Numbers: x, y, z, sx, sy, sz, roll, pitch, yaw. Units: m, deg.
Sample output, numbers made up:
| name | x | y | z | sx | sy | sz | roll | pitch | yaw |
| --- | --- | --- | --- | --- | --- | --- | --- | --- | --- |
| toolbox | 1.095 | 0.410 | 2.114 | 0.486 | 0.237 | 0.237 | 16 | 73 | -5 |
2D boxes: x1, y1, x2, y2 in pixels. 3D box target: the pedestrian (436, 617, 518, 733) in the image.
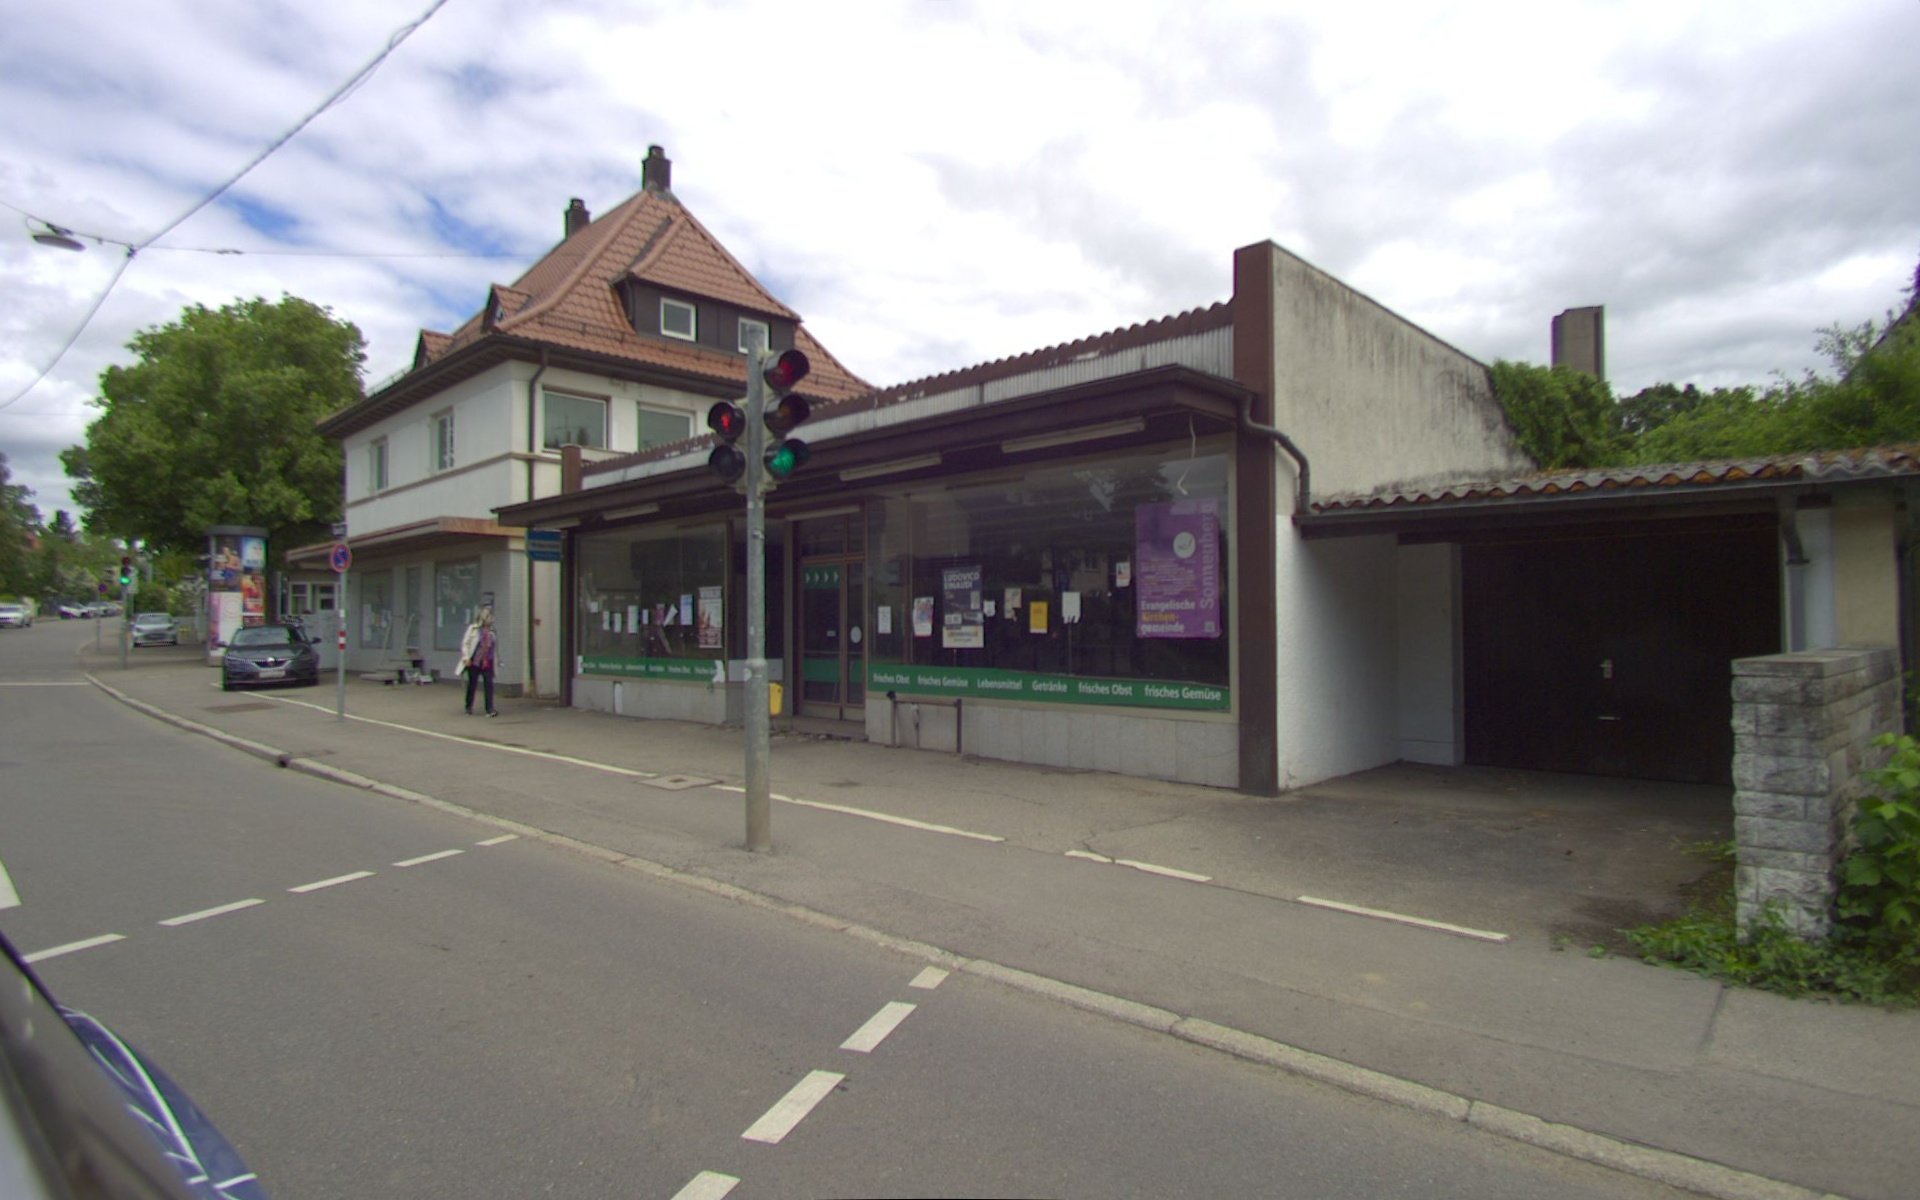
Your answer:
| name | x | y | z | sx | sy | sz | roll | pitch | yaw |
| --- | --- | --- | --- | --- | --- | --- | --- | --- | --- |
| pedestrian | -7.688 | 1.162 | 16.116 | 0.963 | 1.764 | 0.873 | -1 | -2 | 41 |

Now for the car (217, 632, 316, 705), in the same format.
| name | x | y | z | sx | sy | sz | roll | pitch | yaw |
| --- | --- | --- | --- | --- | --- | --- | --- | --- | --- |
| car | -16.362 | 1.534 | 23.885 | 1.756 | 1.452 | 4.536 | -1 | -1 | -35 |

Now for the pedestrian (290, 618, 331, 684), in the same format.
| name | x | y | z | sx | sy | sz | roll | pitch | yaw |
| --- | --- | --- | --- | --- | --- | --- | --- | --- | --- |
| pedestrian | -17.721 | 1.377 | 27.637 | 0.874 | 1.731 | 0.763 | -1 | -1 | -28 |

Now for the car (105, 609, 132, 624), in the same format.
| name | x | y | z | sx | sy | sz | roll | pitch | yaw |
| --- | --- | --- | --- | --- | --- | --- | --- | --- | --- |
| car | -95.444 | 1.839 | 114.886 | 1.825 | 1.639 | 4.181 | 0 | 0 | -32 |

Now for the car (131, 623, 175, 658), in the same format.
| name | x | y | z | sx | sy | sz | roll | pitch | yaw |
| --- | --- | --- | --- | --- | --- | --- | --- | --- | --- |
| car | -38.556 | 1.898 | 48.407 | 1.568 | 1.550 | 2.929 | -2 | 0 | -38 |

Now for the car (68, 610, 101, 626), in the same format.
| name | x | y | z | sx | sy | sz | roll | pitch | yaw |
| --- | --- | --- | --- | --- | --- | --- | --- | --- | --- |
| car | -88.973 | 1.819 | 102.874 | 1.804 | 1.636 | 4.505 | 0 | 0 | -31 |

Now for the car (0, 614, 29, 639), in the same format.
| name | x | y | z | sx | sy | sz | roll | pitch | yaw |
| --- | --- | --- | --- | --- | --- | --- | --- | --- | --- |
| car | -70.072 | 1.927 | 74.310 | 1.840 | 1.698 | 4.362 | 0 | 0 | -34 |

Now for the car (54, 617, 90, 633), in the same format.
| name | x | y | z | sx | sy | sz | roll | pitch | yaw |
| --- | --- | --- | --- | --- | --- | --- | --- | --- | --- |
| car | -84.715 | 2.382 | 96.557 | 2.255 | 1.535 | 1.322 | 1 | -2 | -27 |
